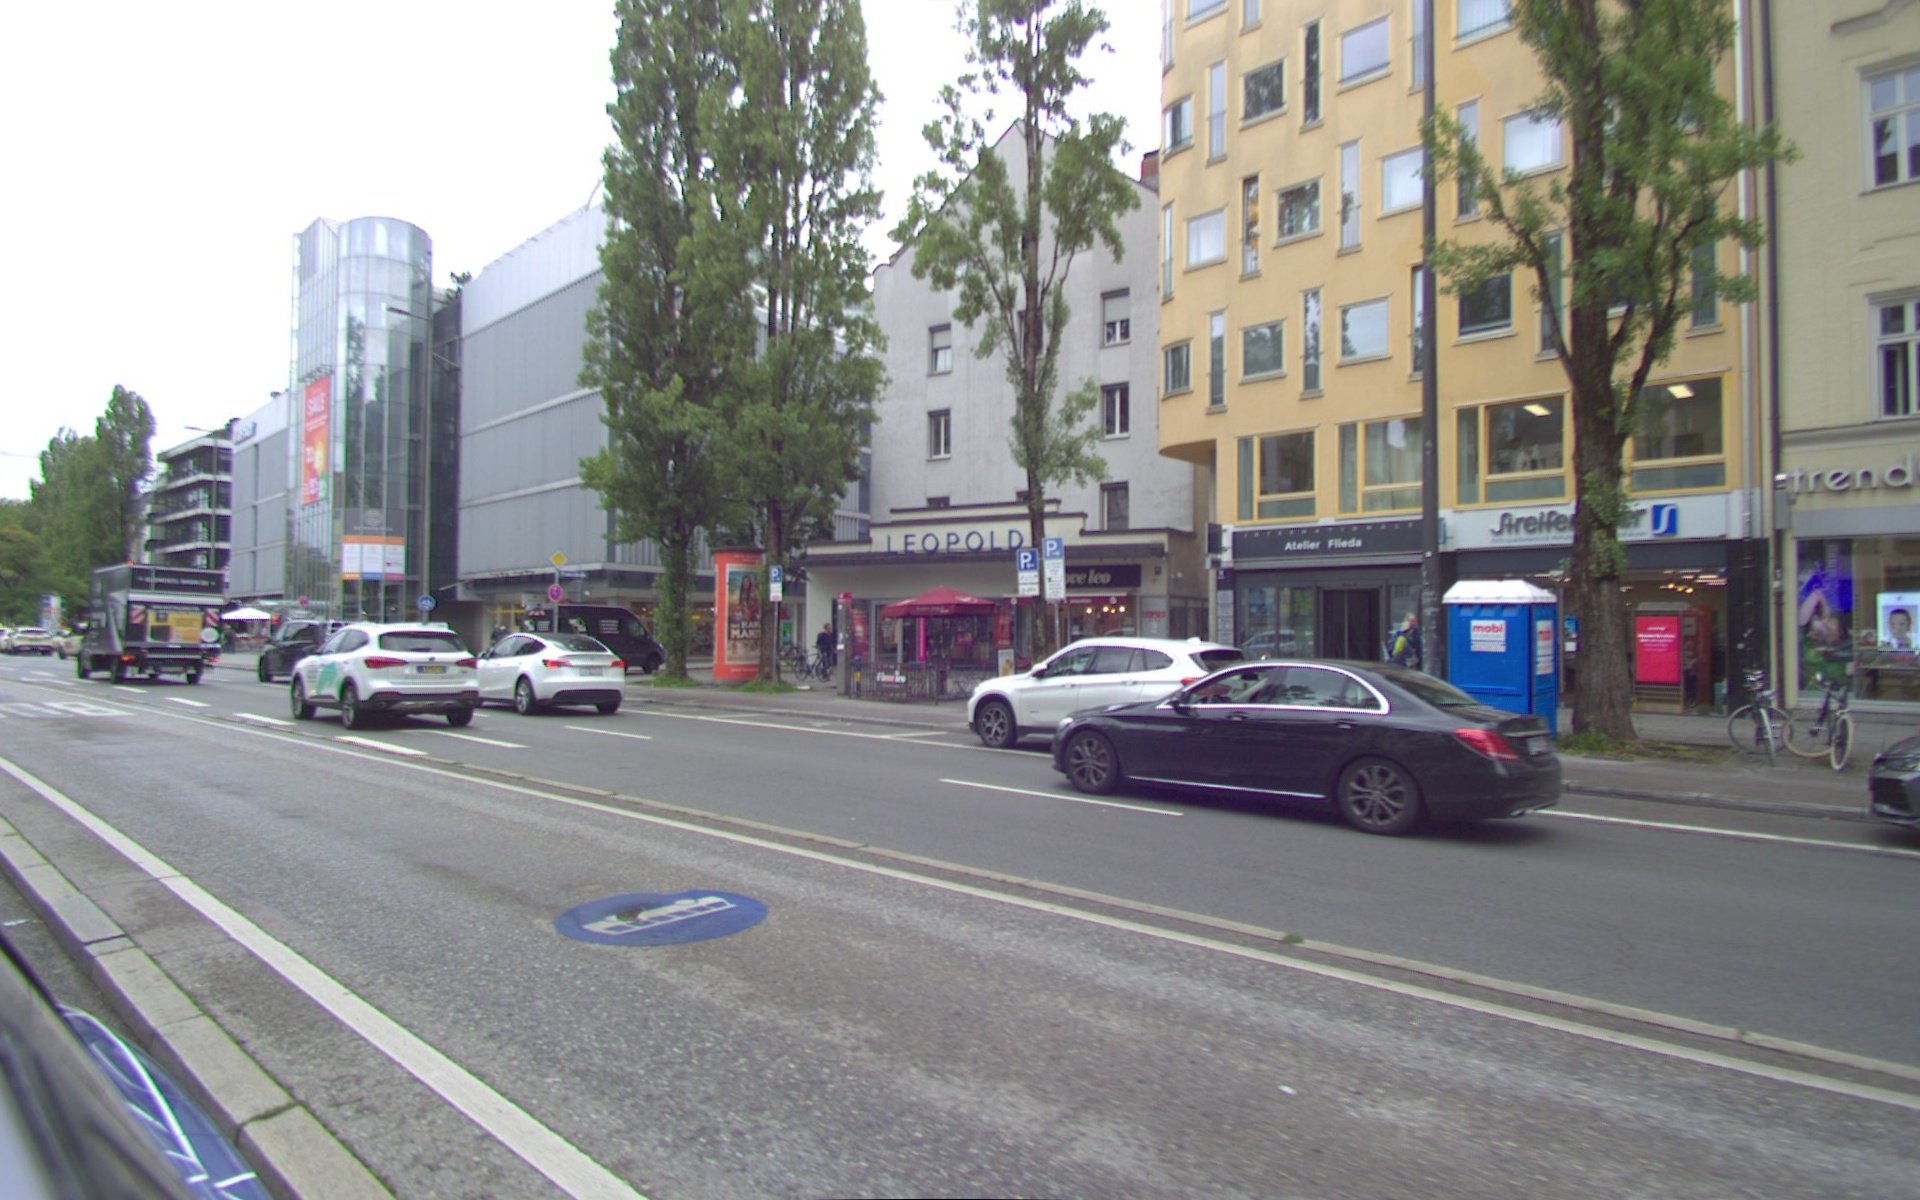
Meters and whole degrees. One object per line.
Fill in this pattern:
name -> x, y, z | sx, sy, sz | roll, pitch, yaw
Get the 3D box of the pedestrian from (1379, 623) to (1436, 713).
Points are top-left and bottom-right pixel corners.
pedestrian -> 8.489, 1.258, 19.194 | 0.763, 1.638, 0.831 | -1, -1, 42

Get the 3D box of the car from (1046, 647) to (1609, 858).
car -> 3.170, 1.181, 9.402 | 4.539, 1.445, 1.918 | -2, -3, 43

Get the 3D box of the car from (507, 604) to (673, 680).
car -> -13.805, 1.565, 38.227 | 2.166, 2.625, 6.007 | -1, -3, 27

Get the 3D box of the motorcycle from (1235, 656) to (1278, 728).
motorcycle -> 5.072, 1.534, 17.267 | 0.483, 1.044, 2.046 | 0, 0, 23

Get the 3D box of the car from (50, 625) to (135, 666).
car -> -45.422, 2.368, 52.967 | 5.307, 2.029, 1.977 | -1, -3, 34

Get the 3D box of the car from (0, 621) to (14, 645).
car -> -64.876, 2.196, 67.341 | 4.460, 1.624, 1.575 | -1, -3, 31

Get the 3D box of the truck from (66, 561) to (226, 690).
truck -> -23.896, 0.793, 29.572 | 7.152, 3.348, 2.267 | -2, -4, 41

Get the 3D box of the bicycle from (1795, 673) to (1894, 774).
bicycle -> 10.302, 1.397, 11.835 | 0.621, 1.049, 1.624 | -1, -3, 33

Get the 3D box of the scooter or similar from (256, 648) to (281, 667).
scooter or similar -> -41.085, 3.423, 60.130 | 1.367, 1.148, 0.366 | 0, -3, 12

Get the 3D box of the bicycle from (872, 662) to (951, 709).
bicycle -> -1.091, 1.875, 22.457 | 1.877, 0.971, 0.454 | -1, -3, 37

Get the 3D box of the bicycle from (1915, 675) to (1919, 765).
bicycle -> 10.974, 1.356, 10.901 | 0.621, 1.049, 1.991 | -1, -3, 33

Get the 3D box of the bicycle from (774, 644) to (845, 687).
bicycle -> -4.828, 2.070, 32.351 | 2.299, 1.318, 0.839 | -1, -3, 36

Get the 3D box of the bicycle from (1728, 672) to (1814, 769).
bicycle -> 9.776, 1.417, 12.247 | 0.621, 1.049, 1.624 | -1, -3, 33

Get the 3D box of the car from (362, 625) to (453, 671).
car -> -25.694, 2.211, 46.996 | 5.108, 2.029, 1.973 | -2, -3, 41

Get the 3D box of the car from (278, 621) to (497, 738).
car -> -9.800, 1.271, 17.175 | 4.534, 1.724, 1.840 | -2, -4, 42

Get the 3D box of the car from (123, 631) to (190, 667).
car -> -36.115, 2.192, 45.433 | 1.835, 1.481, 4.986 | 5, -5, -44

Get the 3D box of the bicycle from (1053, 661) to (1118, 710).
bicycle -> 2.618, 1.775, 21.193 | 1.479, 0.983, 0.289 | -2, -4, 44

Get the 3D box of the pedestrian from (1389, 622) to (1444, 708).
pedestrian -> 9.002, 1.261, 19.951 | 0.763, 1.638, 0.831 | -1, -1, 42

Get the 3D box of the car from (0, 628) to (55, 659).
car -> -54.370, 2.528, 58.991 | 4.381, 1.711, 1.865 | -2, -4, 42

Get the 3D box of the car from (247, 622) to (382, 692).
car -> -19.340, 1.673, 30.208 | 5.711, 1.878, 1.972 | -2, -5, 43

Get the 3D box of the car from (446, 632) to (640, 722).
car -> -8.742, 1.519, 21.006 | 4.636, 1.664, 1.971 | -2, -4, 43

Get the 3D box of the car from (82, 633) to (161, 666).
car -> -41.094, 2.398, 49.573 | 5.079, 1.564, 1.958 | -2, -3, 39

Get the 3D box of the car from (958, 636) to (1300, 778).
car -> 2.205, 1.339, 14.058 | 1.970, 1.642, 4.384 | 3, -4, -45

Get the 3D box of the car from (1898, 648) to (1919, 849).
car -> 9.362, 1.108, 6.883 | 4.297, 1.505, 1.917 | -2, -4, 45

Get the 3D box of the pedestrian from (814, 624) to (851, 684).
pedestrian -> -4.143, 1.745, 32.934 | 0.831, 1.913, 0.850 | -1, -3, 36

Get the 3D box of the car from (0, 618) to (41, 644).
car -> -58.987, 1.931, 63.046 | 4.844, 1.552, 1.926 | -2, -3, 41
